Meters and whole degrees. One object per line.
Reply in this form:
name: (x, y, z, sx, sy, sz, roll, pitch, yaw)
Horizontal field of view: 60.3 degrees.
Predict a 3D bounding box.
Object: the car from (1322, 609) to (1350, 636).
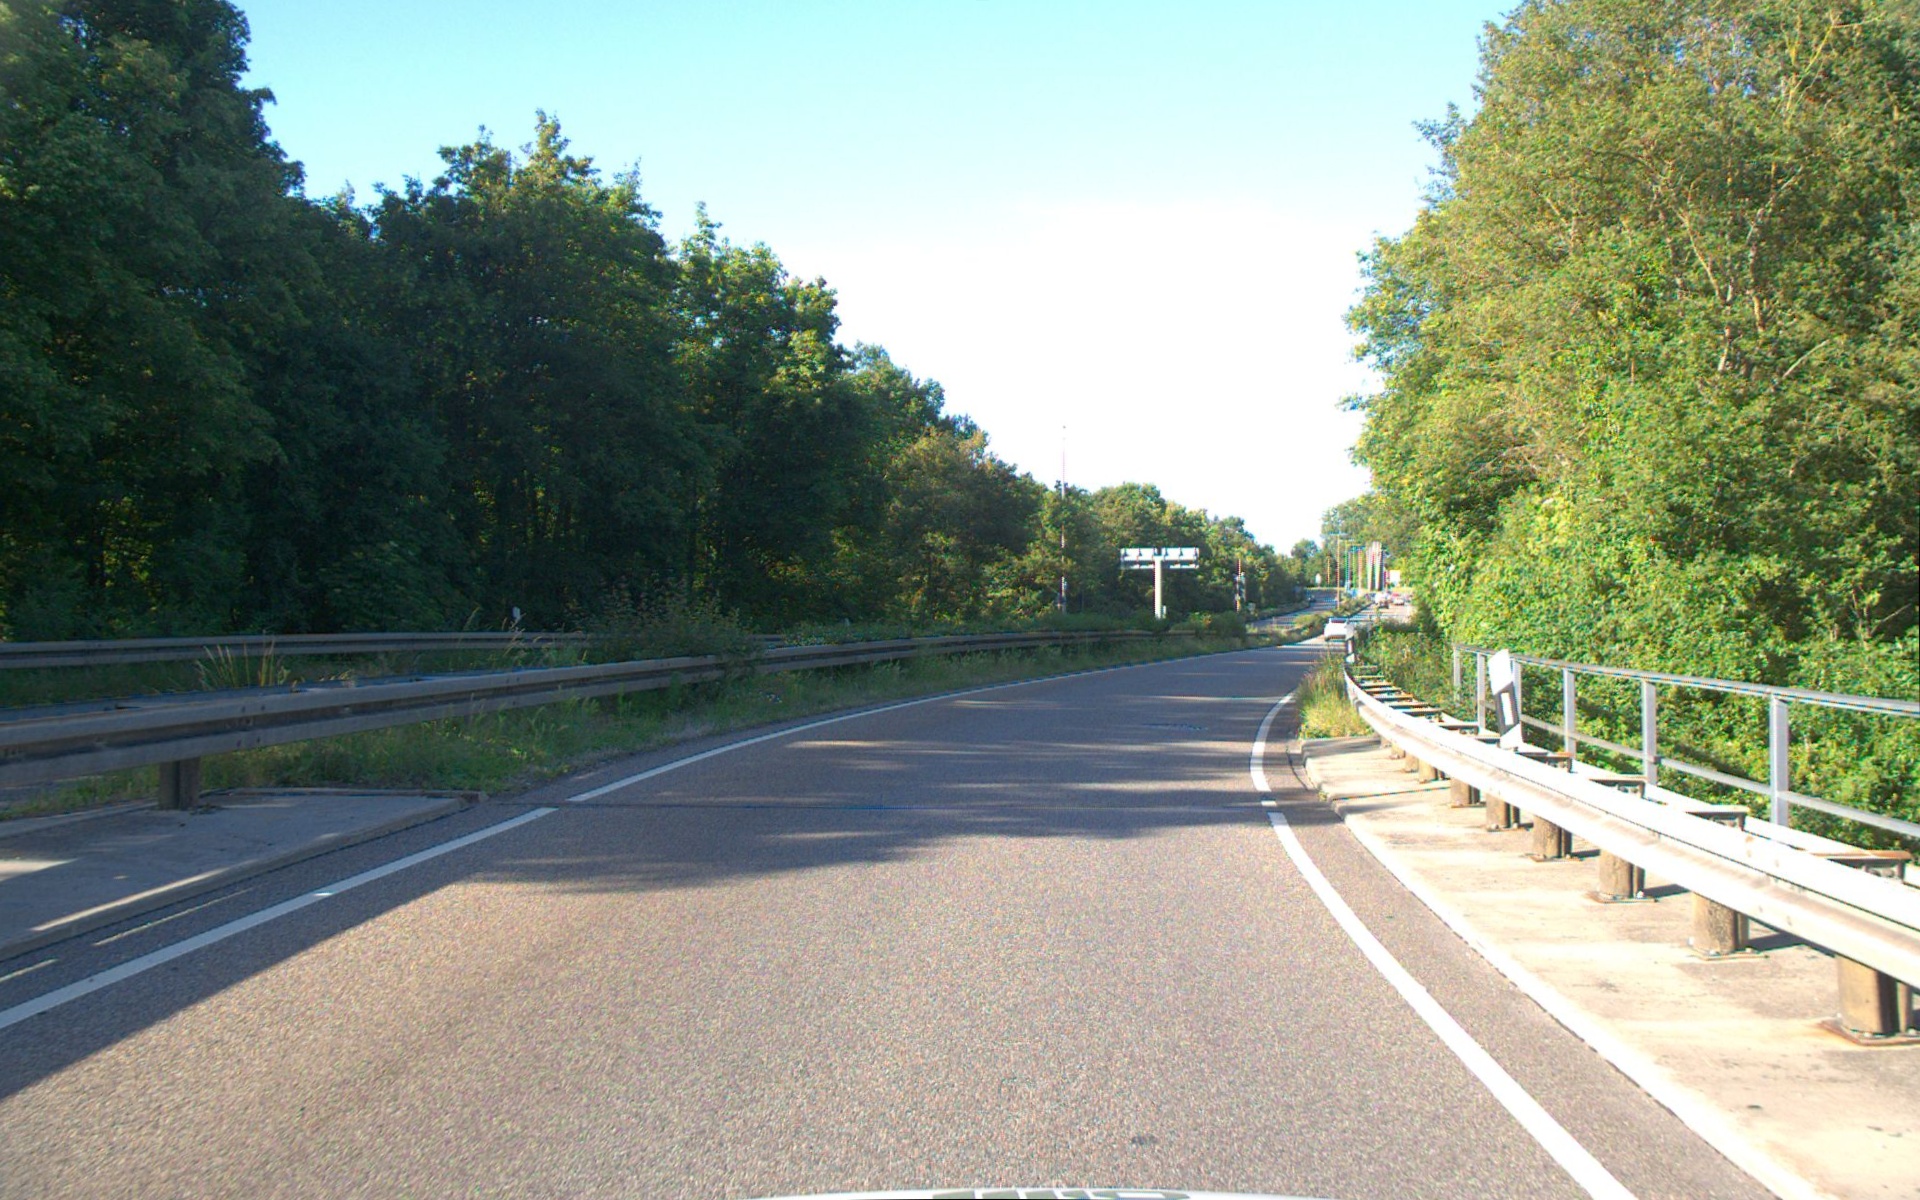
car: (26.581, 1.583, 117.017, 1.844, 1.847, 4.003, 2, 0, 12)
